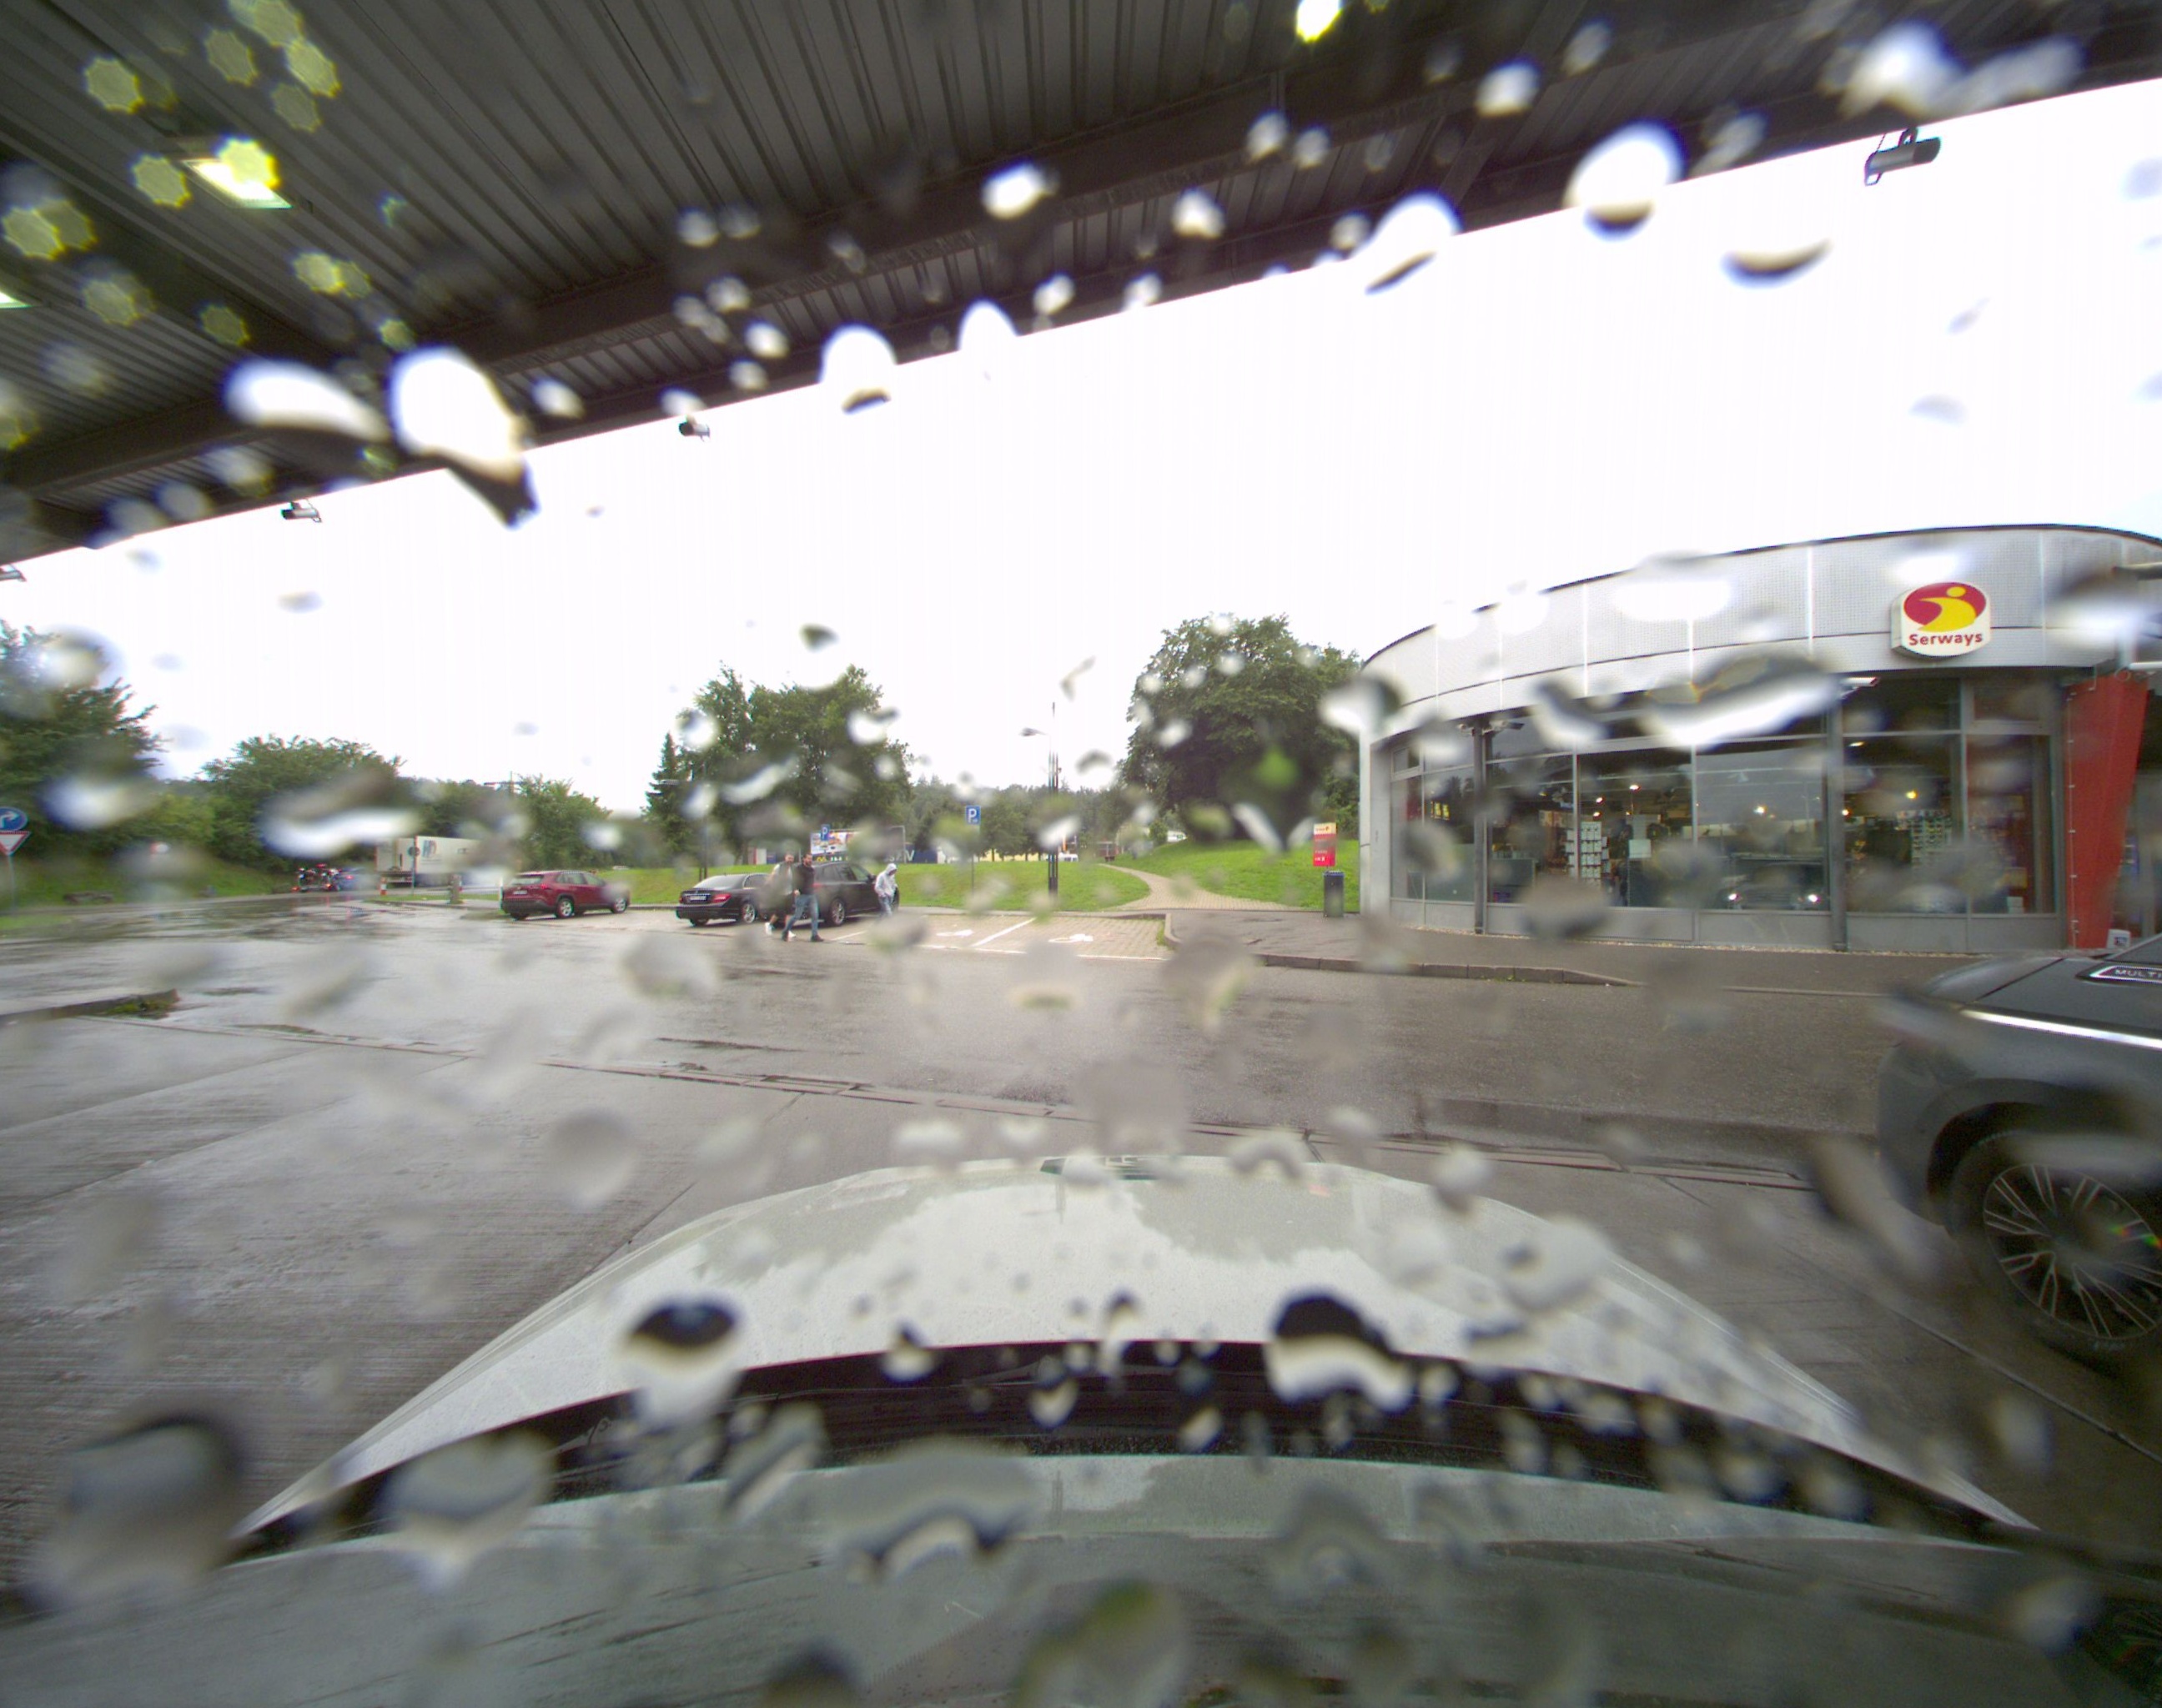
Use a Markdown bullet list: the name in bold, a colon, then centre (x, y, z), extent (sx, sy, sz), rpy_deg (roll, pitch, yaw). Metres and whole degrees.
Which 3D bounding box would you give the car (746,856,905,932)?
- **car**: centre (-6.645, 0.973, 21.790), extent (2.002, 1.711, 4.360), rpy_deg (-2, 0, 14)

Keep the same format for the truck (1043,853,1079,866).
- **truck**: centre (-3.242, 0.880, 134.115), extent (5.356, 2.014, 2.381), rpy_deg (-1, -1, 26)

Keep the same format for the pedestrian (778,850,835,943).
- **pedestrian**: centre (-5.700, 0.860, 16.916), extent (0.882, 1.887, 0.708), rpy_deg (-1, -1, 25)

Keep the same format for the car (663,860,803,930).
- **car**: centre (-9.831, 1.083, 23.434), extent (2.010, 1.711, 4.344), rpy_deg (-2, 0, 1)

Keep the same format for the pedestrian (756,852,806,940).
- **pedestrian**: centre (-6.714, 0.913, 18.196), extent (0.942, 1.887, 0.708), rpy_deg (-1, -1, 44)

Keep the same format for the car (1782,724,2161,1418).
- **car**: centre (3.677, 0.544, 0.687), extent (1.854, 1.798, 5.142), rpy_deg (0, -1, 2)

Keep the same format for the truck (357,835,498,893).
- **truck**: centre (-55.440, 0.843, 69.988), extent (3.550, 4.340, 16.899), rpy_deg (0, -1, -18)

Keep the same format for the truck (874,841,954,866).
- **truck**: centre (-20.748, -0.053, 102.357), extent (2.165, 2.920, 13.175), rpy_deg (-1, -1, 26)

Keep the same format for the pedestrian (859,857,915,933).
- **pedestrian**: centre (-4.273, 0.894, 17.958), extent (0.943, 1.631, 0.707), rpy_deg (-1, -1, 19)

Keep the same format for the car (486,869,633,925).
- **car**: centre (-18.133, 1.443, 28.602), extent (1.928, 1.644, 4.352), rpy_deg (-2, 0, 7)

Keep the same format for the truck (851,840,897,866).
- **truck**: centre (-24.180, -0.084, 95.466), extent (2.165, 2.920, 5.419), rpy_deg (-1, -1, 27)

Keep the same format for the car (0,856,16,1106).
- **car**: centre (-7.965, 0.804, 2.686), extent (1.854, 1.608, 5.273), rpy_deg (0, -1, 2)

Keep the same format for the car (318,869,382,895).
- **car**: centre (-50.339, 1.882, 56.184), extent (1.814, 1.681, 3.927), rpy_deg (0, -1, -18)
